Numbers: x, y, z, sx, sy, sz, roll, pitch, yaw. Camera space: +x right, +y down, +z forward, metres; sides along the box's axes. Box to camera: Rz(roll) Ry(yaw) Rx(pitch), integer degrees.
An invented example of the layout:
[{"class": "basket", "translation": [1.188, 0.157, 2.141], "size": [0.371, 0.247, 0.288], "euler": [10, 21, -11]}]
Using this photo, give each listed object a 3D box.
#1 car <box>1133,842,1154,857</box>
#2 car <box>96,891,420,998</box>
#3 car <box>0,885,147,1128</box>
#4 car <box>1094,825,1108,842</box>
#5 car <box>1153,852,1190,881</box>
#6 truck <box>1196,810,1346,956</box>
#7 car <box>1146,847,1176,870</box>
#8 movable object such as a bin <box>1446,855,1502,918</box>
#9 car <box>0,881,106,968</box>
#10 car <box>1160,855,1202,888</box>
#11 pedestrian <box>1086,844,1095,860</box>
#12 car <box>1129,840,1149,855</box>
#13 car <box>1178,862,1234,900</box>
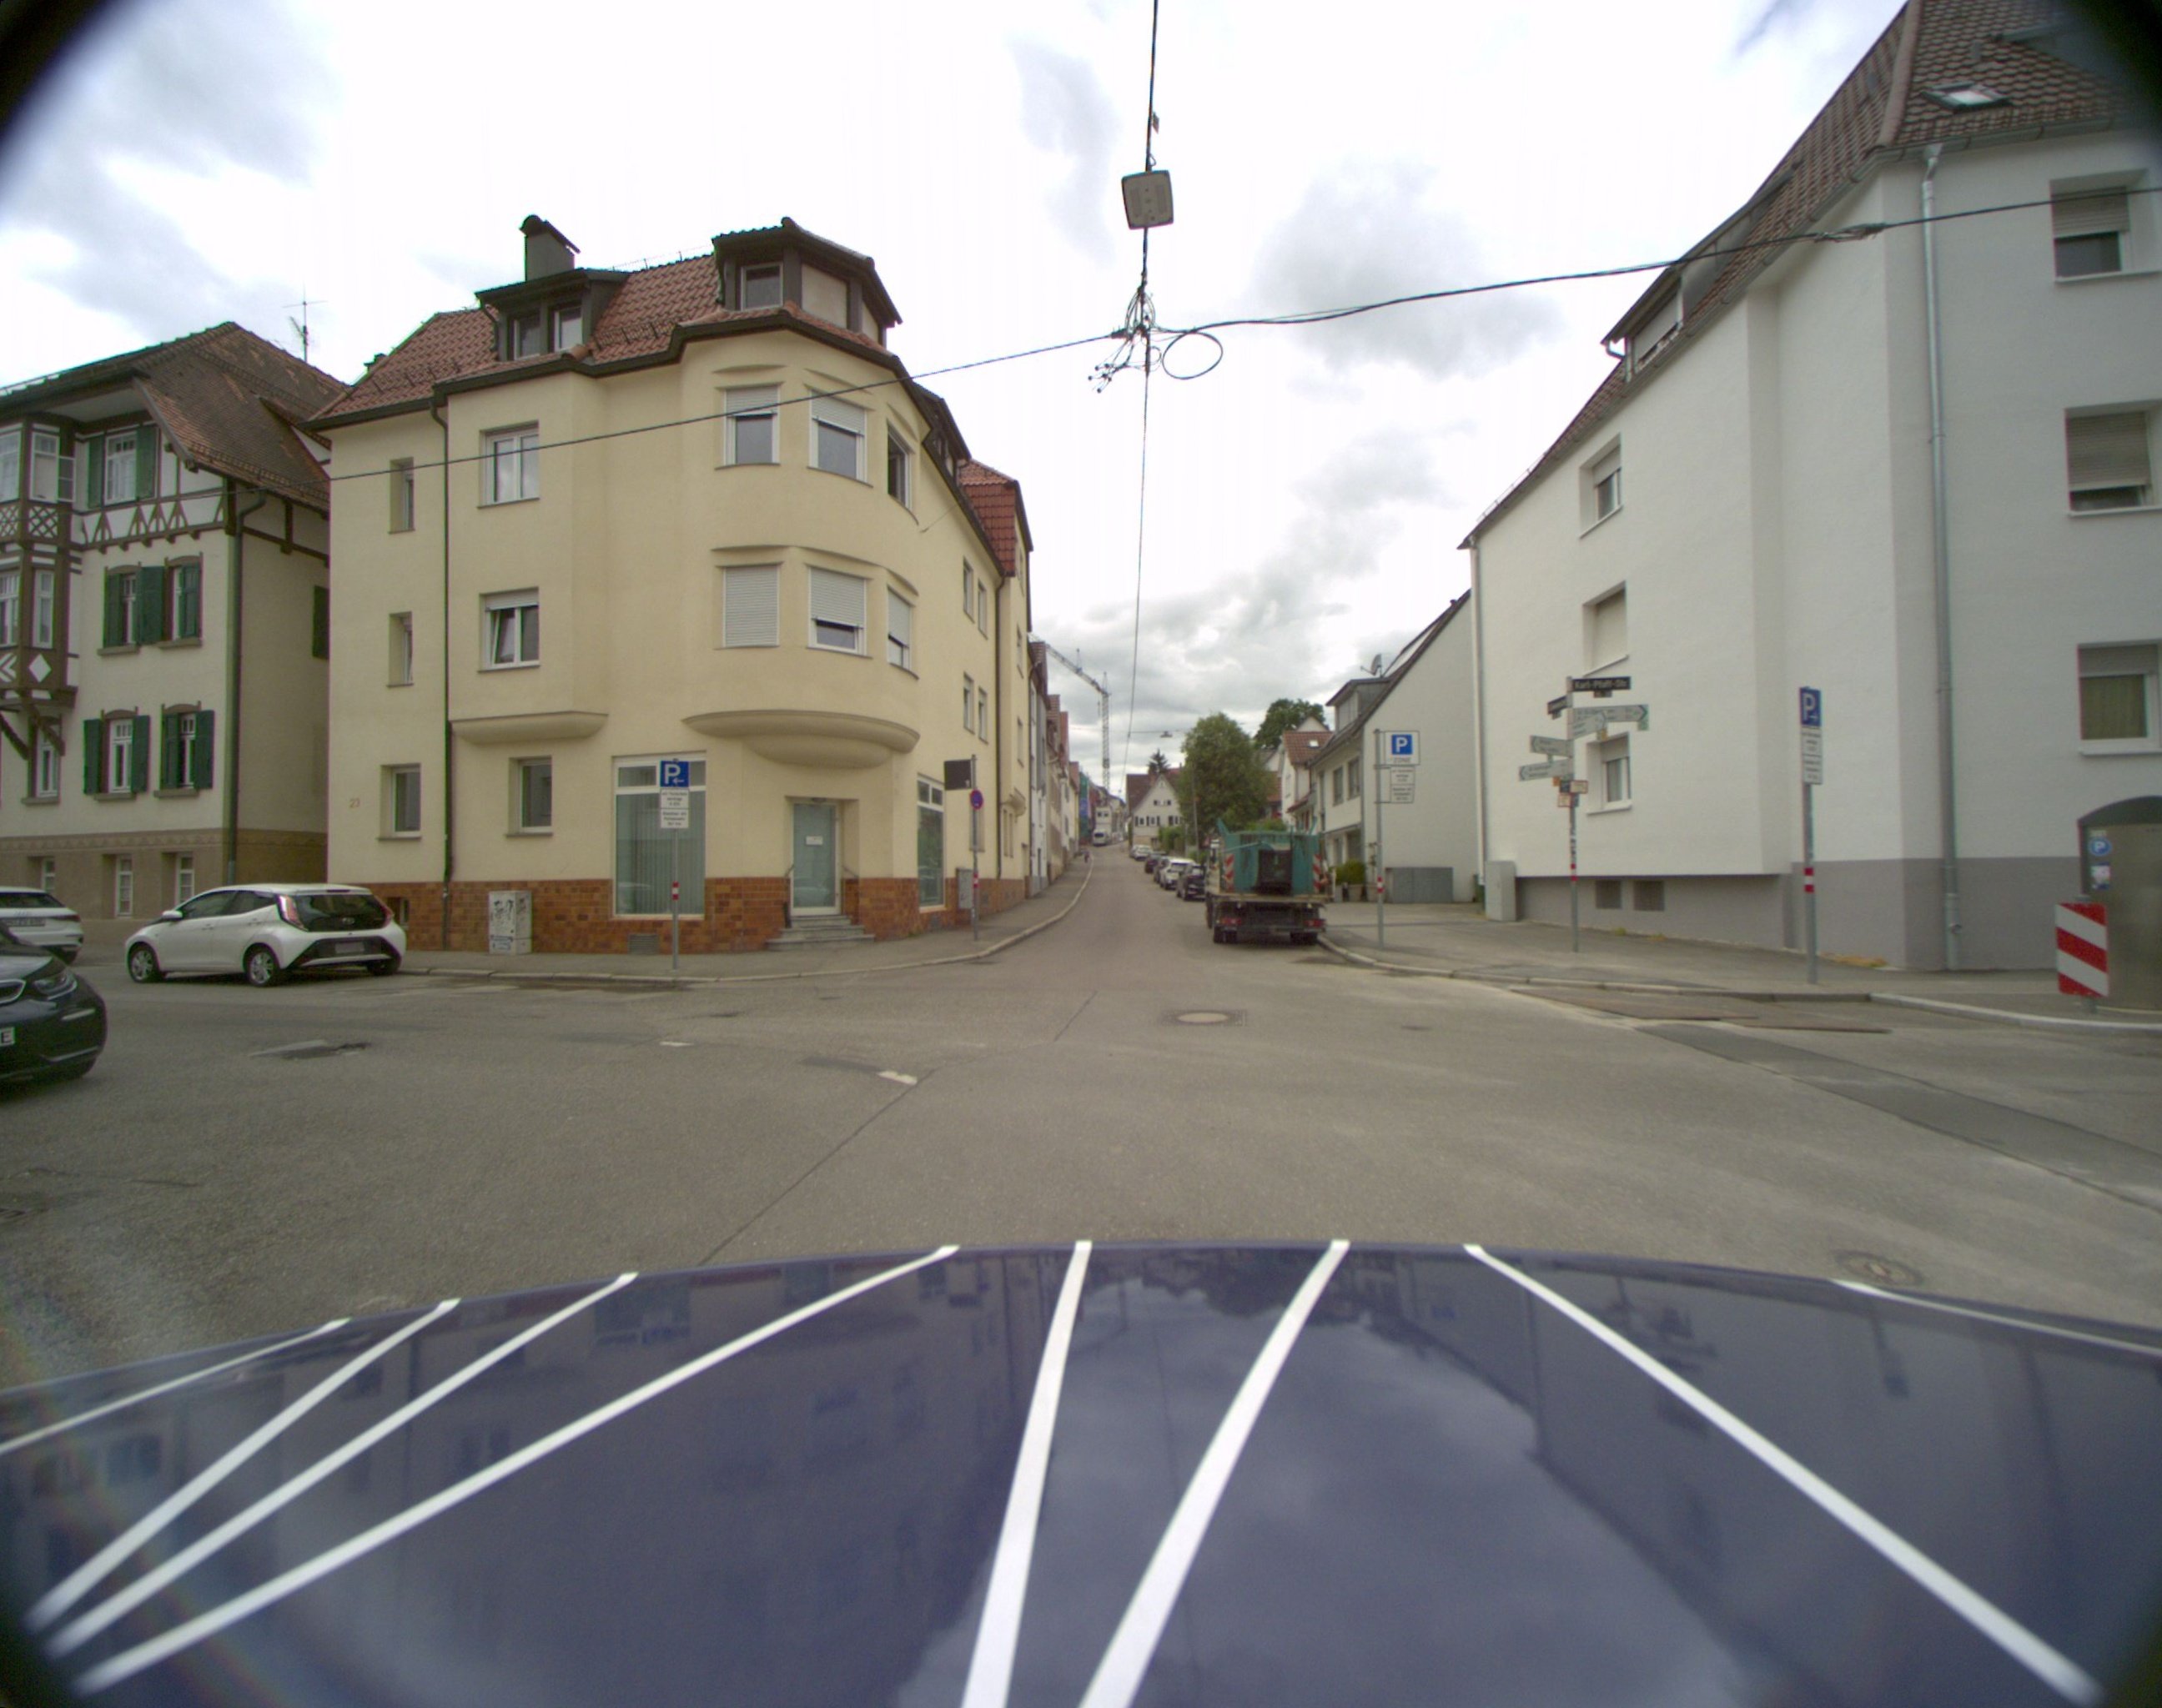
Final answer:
[{"class": "car", "translation": [6.335, -0.475, 76.873], "size": [1.854, 1.441, 3.945], "euler": [1, 1, 1]}, {"class": "car", "translation": [-12.453, 1.287, 11.573], "size": [3.809, 1.425, 1.674], "euler": [-1, -2, 13]}, {"class": "car", "translation": [-9.021, 1.026, 5.037], "size": [4.021, 1.534, 1.825], "euler": [-1, 1, 10]}, {"class": "car", "translation": [3.200, -3.337, 121.453], "size": [2.193, 2.631, 5.825], "euler": [1, 2, 1]}, {"class": "car", "translation": [5.583, 0.756, 47.082], "size": [1.854, 1.641, 3.945], "euler": [1, 1, 1]}, {"class": "truck", "translation": [3.789, 0.562, 16.458], "size": [2.315, 2.536, 6.292], "euler": [0, -1, 6]}, {"class": "car", "translation": [6.097, 0.325, 58.301], "size": [1.854, 1.641, 3.945], "euler": [1, 1, 1]}, {"class": "movable object such as a bin", "translation": [10.325, 0.836, 19.991], "size": [1.010, 1.608, 1.002], "euler": [0, 0, 7]}, {"class": "car", "translation": [-19.880, 1.166, 13.288], "size": [4.362, 1.423, 1.760], "euler": [0, -3, 13]}, {"class": "car", "translation": [5.269, 0.904, 40.420], "size": [1.854, 1.641, 3.947], "euler": [1, 0, 3]}, {"class": "pedestrian", "translation": [0.903, -0.147, 71.607], "size": [0.757, 1.480, 0.566], "euler": [-1, 1, -11]}, {"class": "car", "translation": [6.312, -0.711, 82.942], "size": [1.854, 1.442, 3.944], "euler": [1, 3, 1]}, {"class": "car", "translation": [5.134, 1.064, 31.640], "size": [1.854, 1.455, 3.947], "euler": [1, 0, 3]}]
